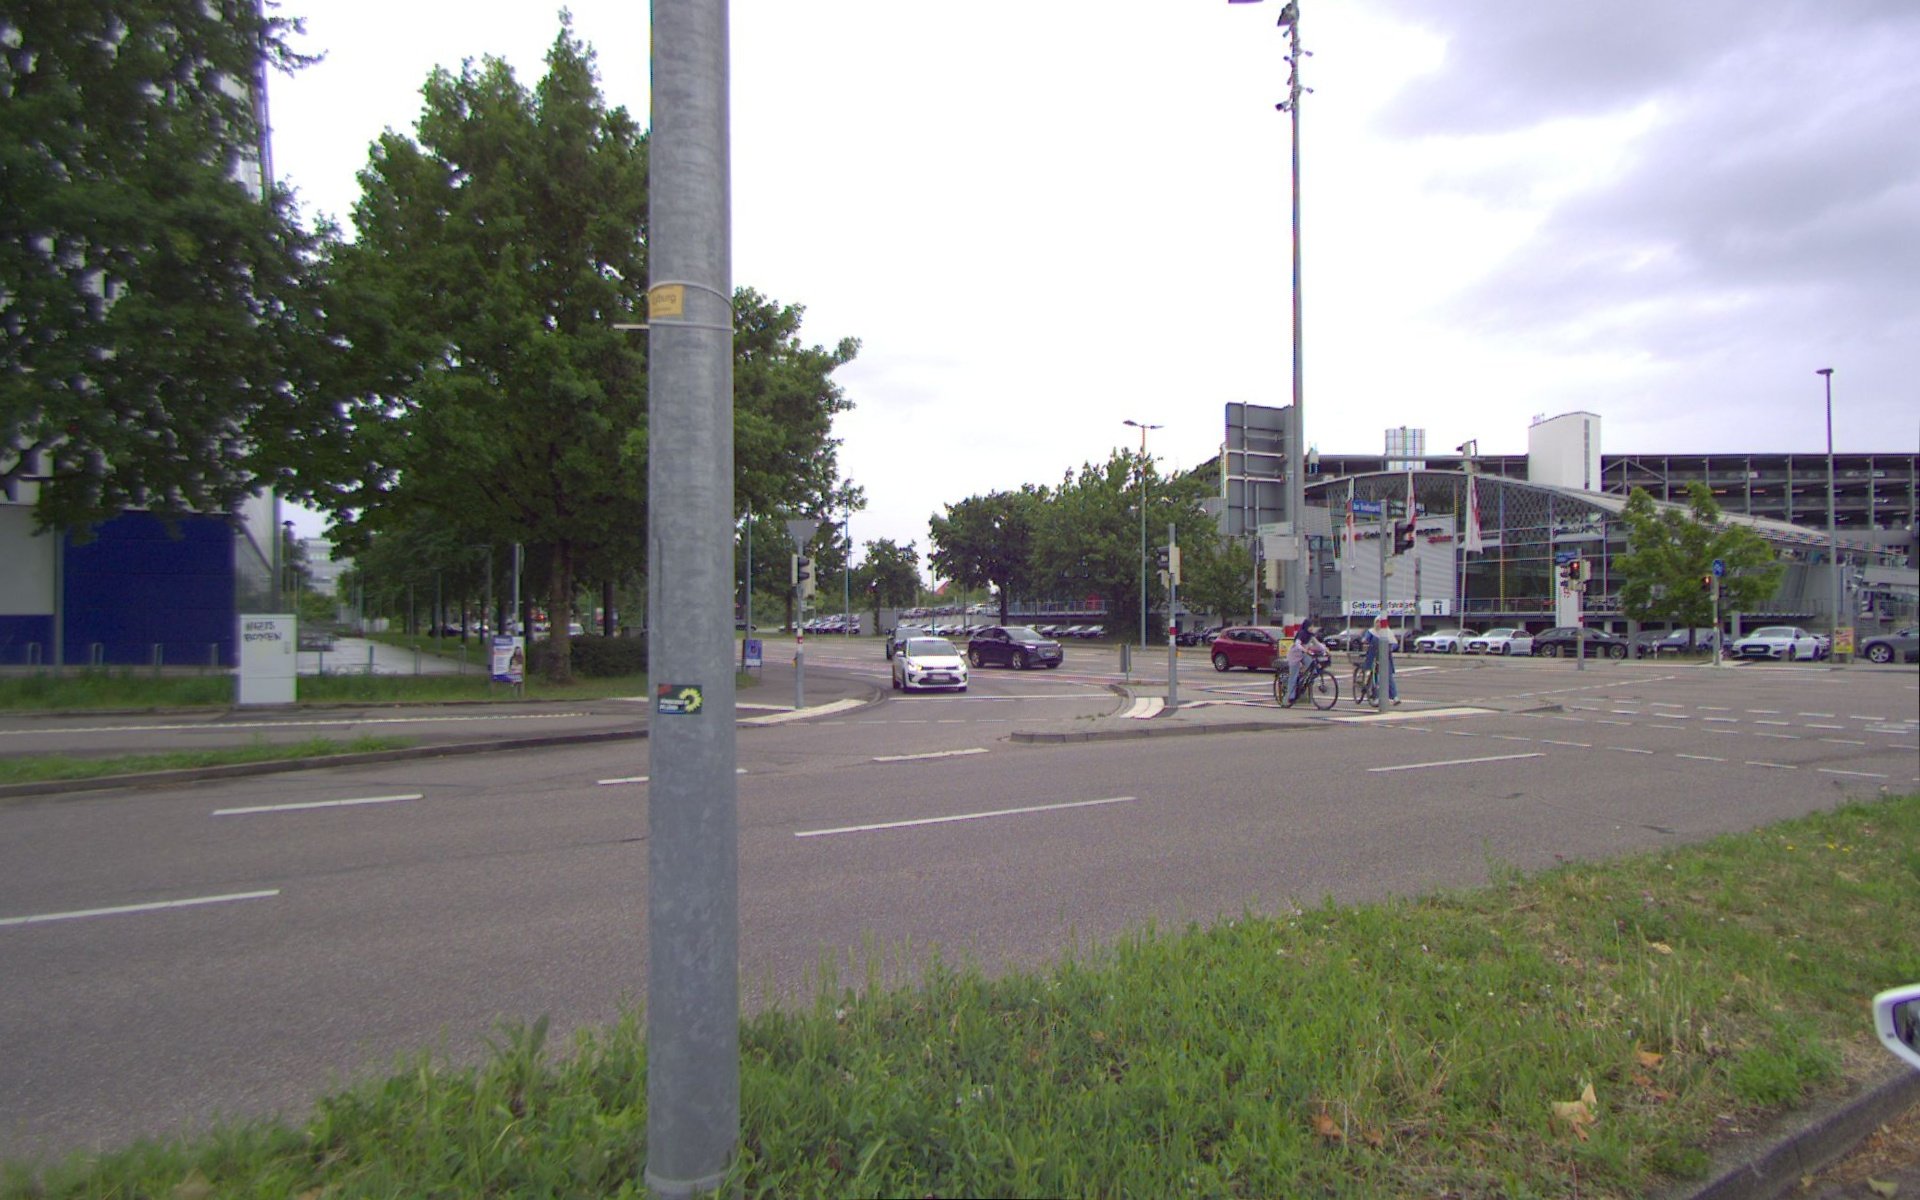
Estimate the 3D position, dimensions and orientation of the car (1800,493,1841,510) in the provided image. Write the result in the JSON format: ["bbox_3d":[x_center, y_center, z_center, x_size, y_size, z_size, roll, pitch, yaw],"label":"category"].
[{"bbox_3d":[111.444,-12.731,130.113,1.960,1.689,4.001,1,0,2],"label":"car"}]

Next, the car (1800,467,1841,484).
[{"bbox_3d":[111.546,-16.170,130.227,1.960,1.689,4.001,1,0,2],"label":"car"}]

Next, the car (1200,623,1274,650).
[{"bbox_3d":[17.161,2.264,62.066,4.617,1.491,1.830,4,-2,-34],"label":"car"}]

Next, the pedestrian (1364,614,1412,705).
[{"bbox_3d":[7.943,1.105,18.662,0.628,1.647,0.693,-2,-4,11],"label":"pedestrian"}]

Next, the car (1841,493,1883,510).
[{"bbox_3d":[116.561,-12.739,129.880,1.960,1.689,4.001,1,0,2],"label":"car"}]

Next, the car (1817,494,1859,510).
[{"bbox_3d":[113.590,-12.693,130.011,1.960,1.689,4.001,1,0,2],"label":"car"}]

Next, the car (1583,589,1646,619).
[{"bbox_3d":[39.409,0.272,60.431,3.960,1.684,1.807,2,0,-35],"label":"car"}]

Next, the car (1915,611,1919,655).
[{"bbox_3d":[46.314,1.440,45.035,1.981,2.040,4.742,2,-4,-35],"label":"car"}]

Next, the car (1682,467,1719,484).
[{"bbox_3d":[96.332,-16.162,130.676,1.960,1.689,4.001,1,0,2],"label":"car"}]

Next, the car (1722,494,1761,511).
[{"bbox_3d":[101.489,-12.652,130.506,1.960,1.689,4.001,1,0,2],"label":"car"}]

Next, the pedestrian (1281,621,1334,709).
[{"bbox_3d":[6.334,1.181,18.321,0.642,1.569,0.648,2,-2,-11],"label":"pedestrian"}]

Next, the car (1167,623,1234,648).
[{"bbox_3d":[15.394,2.279,64.258,4.175,1.439,1.838,4,-3,-34],"label":"car"}]

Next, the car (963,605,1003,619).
[{"bbox_3d":[2.671,1.350,116.206,4.306,1.516,1.863,2,0,-35],"label":"car"}]

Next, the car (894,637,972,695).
[{"bbox_3d":[-0.826,1.776,27.834,1.754,1.471,3.929,0,-2,-8],"label":"car"}]

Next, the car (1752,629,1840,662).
[{"bbox_3d":[53.331,2.863,64.121,1.742,1.862,3.960,2,0,-35],"label":"car"}]

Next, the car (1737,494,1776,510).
[{"bbox_3d":[103.696,-12.721,130.762,1.960,1.689,4.001,1,0,2],"label":"car"}]

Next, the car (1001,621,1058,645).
[{"bbox_3d":[5.588,2.631,80.743,4.168,1.505,1.940,7,-3,-34],"label":"car"}]

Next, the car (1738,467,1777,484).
[{"bbox_3d":[103.575,-16.200,130.455,1.960,1.689,4.001,1,0,2],"label":"car"}]

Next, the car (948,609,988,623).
[{"bbox_3d":[0.965,1.839,118.553,4.306,1.516,2.049,2,0,-35],"label":"car"}]

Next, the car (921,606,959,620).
[{"bbox_3d":[-2.420,1.600,122.425,4.306,1.516,1.863,2,0,-35],"label":"car"}]

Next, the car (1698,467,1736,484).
[{"bbox_3d":[98.549,-16.246,130.849,1.960,1.689,4.001,1,0,2],"label":"car"}]

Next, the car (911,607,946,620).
[{"bbox_3d":[-3.917,1.693,124.565,4.058,1.516,1.713,2,0,-35],"label":"car"}]

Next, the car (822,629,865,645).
[{"bbox_3d":[-12.848,4.090,110.870,4.413,1.592,1.981,0,-1,-34],"label":"car"}]

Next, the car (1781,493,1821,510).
[{"bbox_3d":[108.942,-12.750,130.160,1.960,1.689,4.001,1,0,2],"label":"car"}]

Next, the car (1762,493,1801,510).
[{"bbox_3d":[106.483,-12.758,130.271,1.960,1.689,4.001,1,0,2],"label":"car"}]

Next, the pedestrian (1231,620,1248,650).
[{"bbox_3d":[17.792,2.218,63.923,0.666,1.895,0.713,3,-2,-31],"label":"pedestrian"}]

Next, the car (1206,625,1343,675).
[{"bbox_3d":[10.094,1.606,32.541,1.724,1.507,4.039,2,-3,-35],"label":"car"}]

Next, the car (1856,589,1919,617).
[{"bbox_3d":[64.878,0.213,69.518,1.740,1.862,3.965,2,0,-32],"label":"car"}]

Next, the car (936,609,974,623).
[{"bbox_3d":[-0.602,1.895,120.560,4.306,1.516,1.951,2,0,-35],"label":"car"}]

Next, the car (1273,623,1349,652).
[{"bbox_3d":[20.114,2.148,57.537,4.335,1.489,1.877,4,-3,-34],"label":"car"}]

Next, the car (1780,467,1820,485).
[{"bbox_3d":[108.911,-16.062,130.294,1.960,1.689,4.001,1,0,2],"label":"car"}]

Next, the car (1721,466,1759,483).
[{"bbox_3d":[101.366,-16.266,130.641,1.960,1.689,4.001,1,0,2],"label":"car"}]

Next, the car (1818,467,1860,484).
[{"bbox_3d":[113.720,-16.097,130.014,1.960,1.689,4.001,1,0,2],"label":"car"}]

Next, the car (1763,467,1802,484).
[{"bbox_3d":[106.638,-16.131,130.301,1.960,1.689,4.001,1,0,2],"label":"car"}]

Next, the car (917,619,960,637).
[{"bbox_3d":[-1.941,2.571,91.055,3.639,1.506,1.696,2,0,-34],"label":"car"}]

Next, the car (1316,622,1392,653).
[{"bbox_3d":[21.633,2.087,55.122,4.148,1.505,1.891,4,-3,-34],"label":"car"}]
